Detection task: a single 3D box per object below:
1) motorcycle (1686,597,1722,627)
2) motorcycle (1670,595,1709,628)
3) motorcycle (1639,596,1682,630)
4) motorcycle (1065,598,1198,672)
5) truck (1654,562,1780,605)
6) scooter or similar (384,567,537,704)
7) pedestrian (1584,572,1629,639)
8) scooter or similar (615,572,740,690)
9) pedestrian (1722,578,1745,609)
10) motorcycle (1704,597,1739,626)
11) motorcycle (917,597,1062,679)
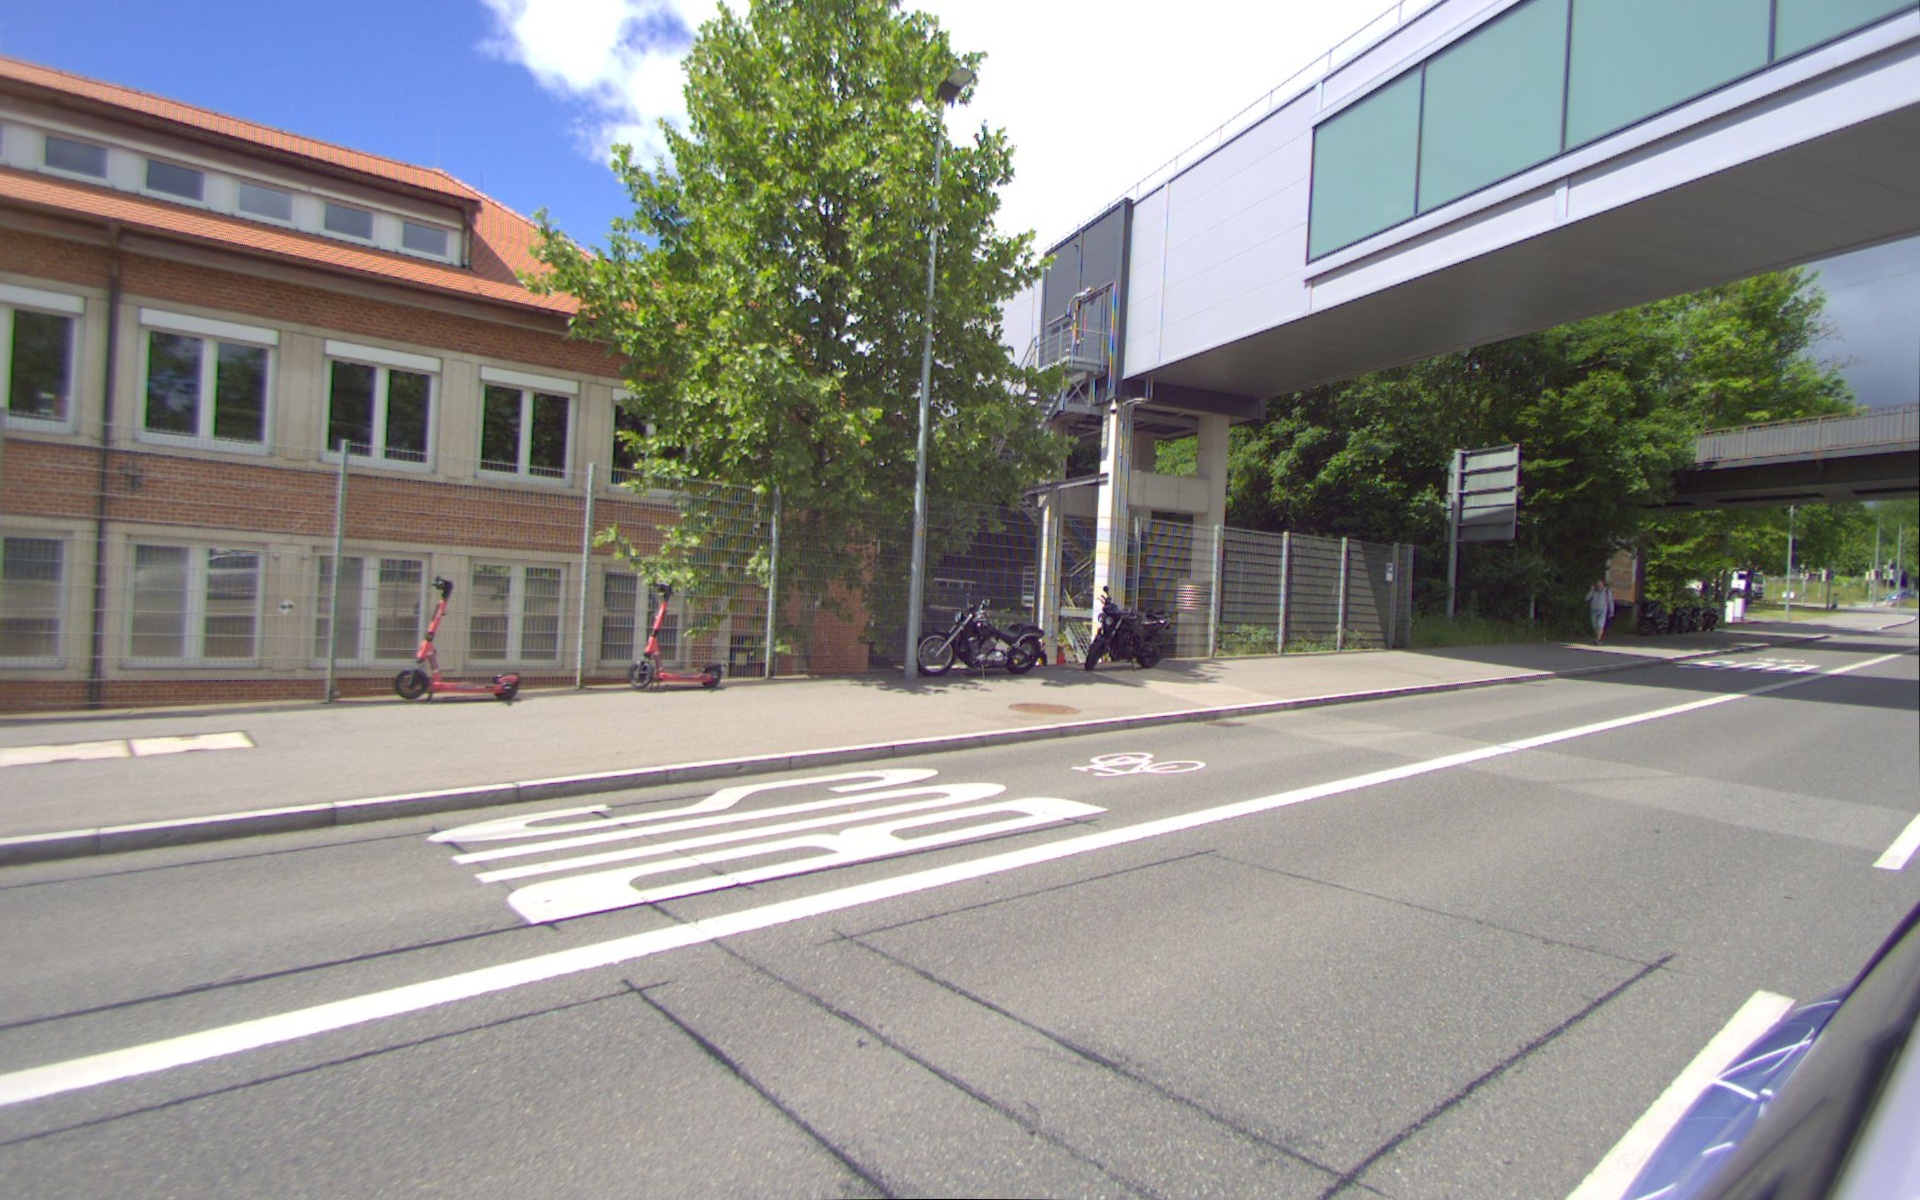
[{"bbox_3d":[28.675,0.459,38.988,2.003,1.096,0.679,0,2,-42],"label":"motorcycle"},{"bbox_3d":[26.948,0.427,37.381,2.123,1.157,0.679,0,2,-42],"label":"motorcycle"},{"bbox_3d":[24.948,0.447,36.022,2.075,1.169,0.679,0,2,-40],"label":"motorcycle"},{"bbox_3d":[2.859,0.541,16.678,2.466,1.077,0.709,0,4,-41],"label":"motorcycle"},{"bbox_3d":[75.909,-1.641,101.816,2.731,4.055,10.105,1,0,-24],"label":"truck"},{"bbox_3d":[-5.131,0.339,10.429,1.313,1.310,0.492,0,2,-41],"label":"scooter or similar"},{"bbox_3d":[19.057,0.162,29.843,1.078,1.911,0.791,0,2,-41],"label":"pedestrian"},{"bbox_3d":[-3.333,0.344,11.993,1.313,1.310,0.492,0,2,-41],"label":"scooter or similar"},{"bbox_3d":[47.540,-0.392,62.221,0.942,1.834,0.712,2,1,27],"label":"pedestrian"},{"bbox_3d":[30.588,0.460,40.648,2.142,1.096,0.679,0,2,-42],"label":"motorcycle"},{"bbox_3d":[0.459,0.517,14.756,2.208,1.077,0.670,0,4,-41],"label":"motorcycle"}]
